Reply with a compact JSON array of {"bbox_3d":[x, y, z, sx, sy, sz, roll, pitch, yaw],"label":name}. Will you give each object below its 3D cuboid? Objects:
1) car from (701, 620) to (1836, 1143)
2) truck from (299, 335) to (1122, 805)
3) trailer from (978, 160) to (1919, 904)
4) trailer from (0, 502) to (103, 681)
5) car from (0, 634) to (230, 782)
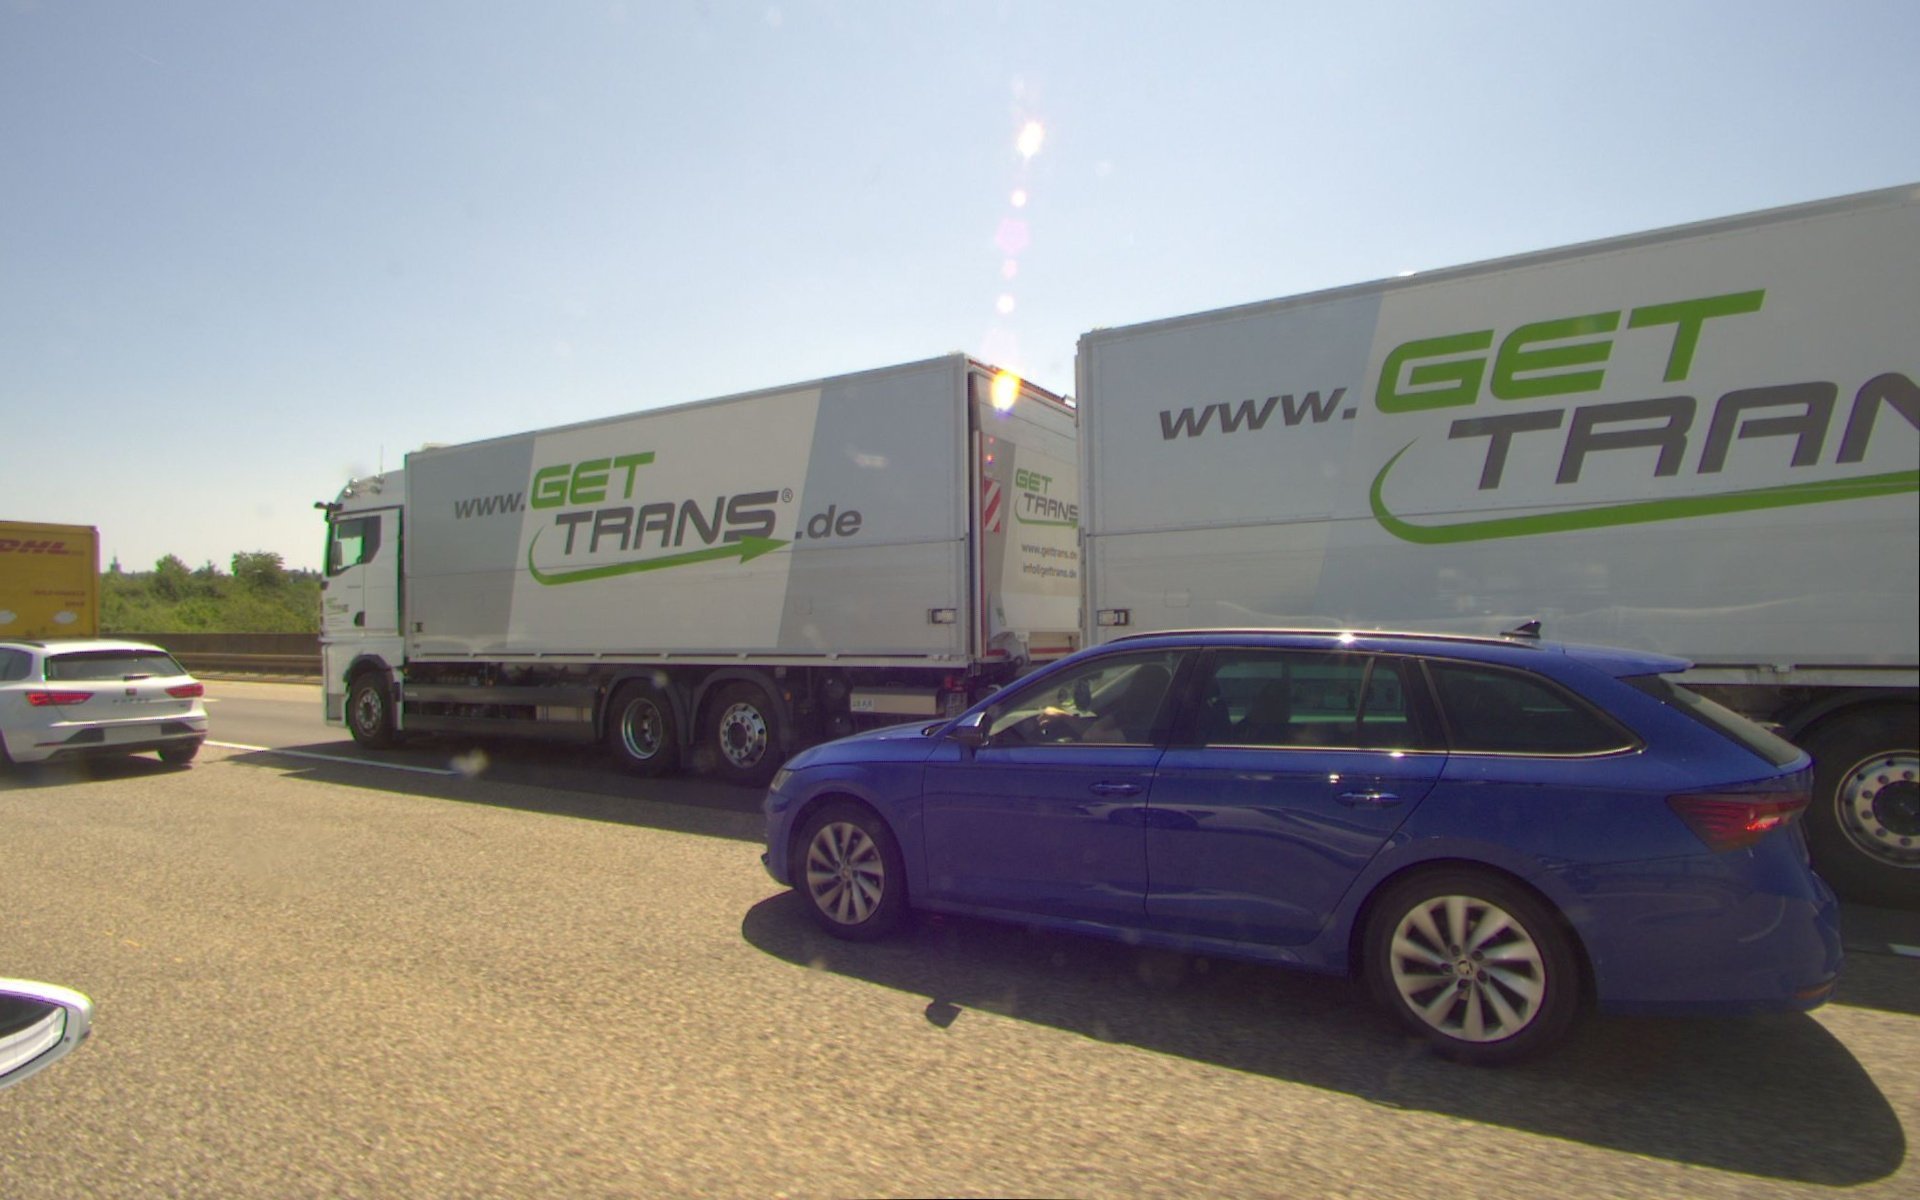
[{"bbox_3d":[0.995,0.845,4.703,4.435,1.459,1.707,-1,-1,32],"label":"car"},{"bbox_3d":[-3.596,-0.059,11.792,10.615,3.648,2.846,-2,-2,32],"label":"truck"},{"bbox_3d":[4.334,-0.279,6.795,8.172,3.640,2.840,-1,-2,32],"label":"trailer"},{"bbox_3d":[-25.245,-0.051,25.519,8.804,4.074,2.697,-2,-2,32],"label":"trailer"},{"bbox_3d":[-10.367,1.106,11.536,4.128,1.405,1.778,-1,-1,32],"label":"car"}]
